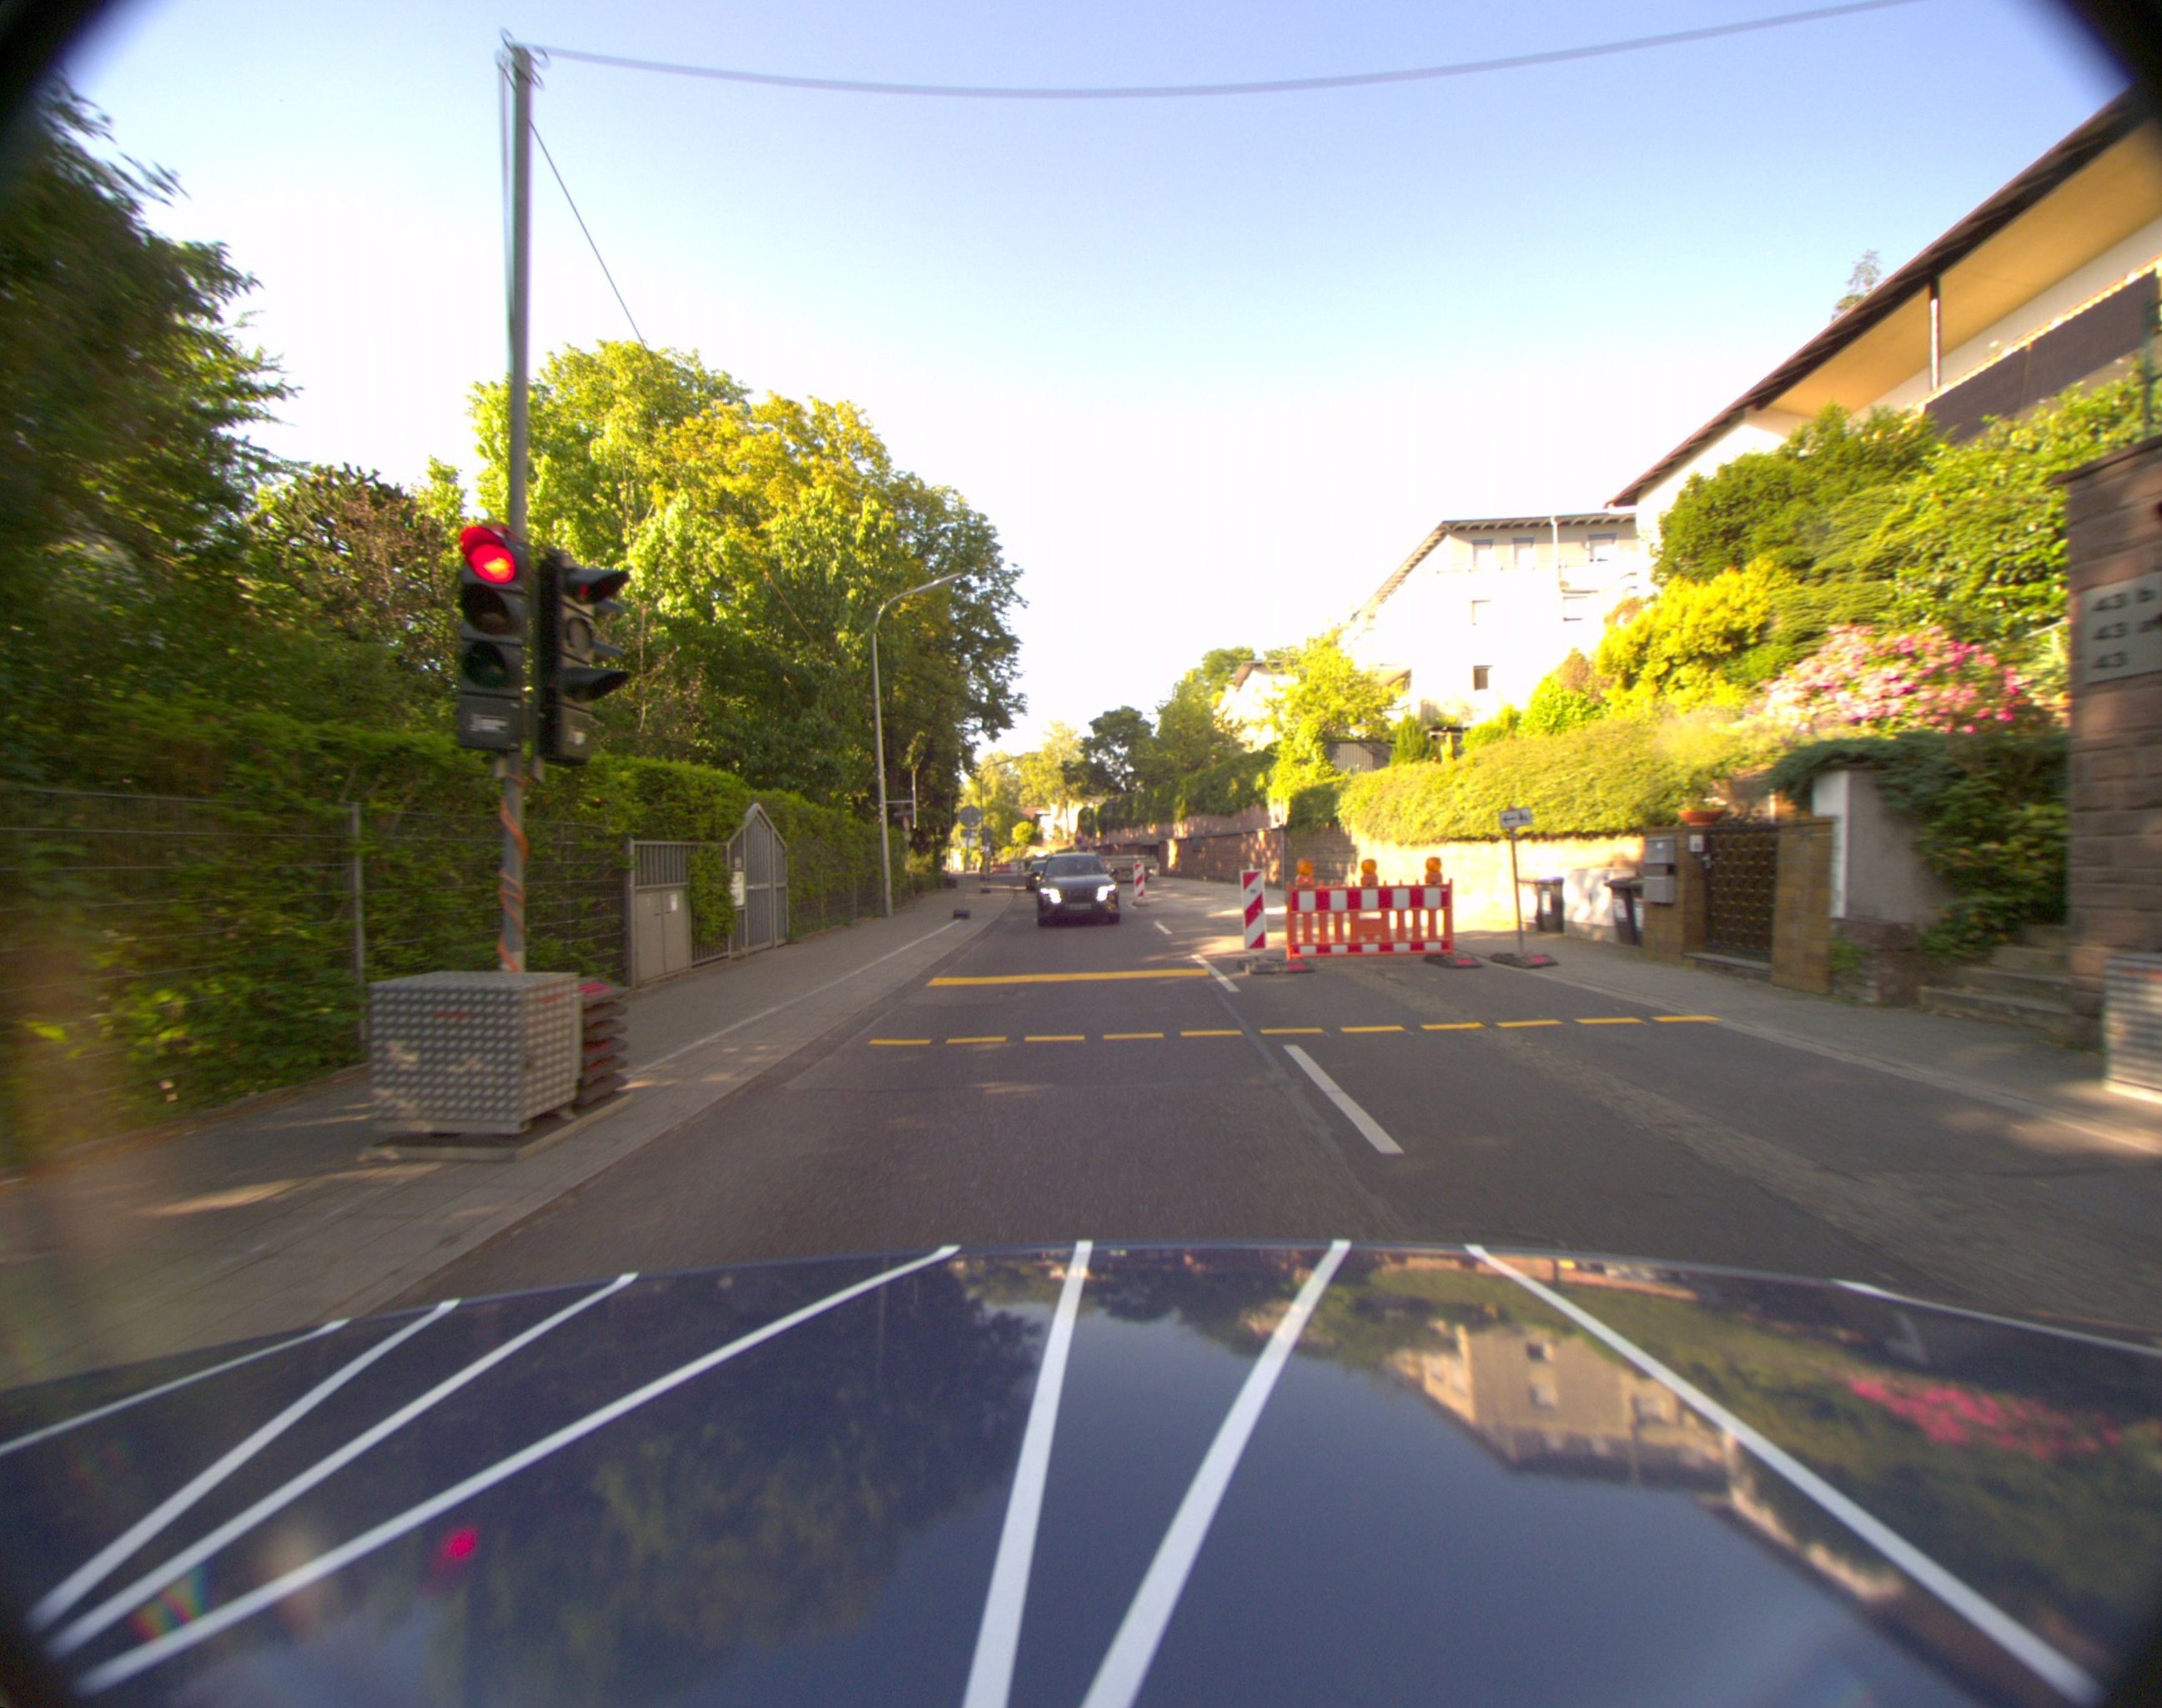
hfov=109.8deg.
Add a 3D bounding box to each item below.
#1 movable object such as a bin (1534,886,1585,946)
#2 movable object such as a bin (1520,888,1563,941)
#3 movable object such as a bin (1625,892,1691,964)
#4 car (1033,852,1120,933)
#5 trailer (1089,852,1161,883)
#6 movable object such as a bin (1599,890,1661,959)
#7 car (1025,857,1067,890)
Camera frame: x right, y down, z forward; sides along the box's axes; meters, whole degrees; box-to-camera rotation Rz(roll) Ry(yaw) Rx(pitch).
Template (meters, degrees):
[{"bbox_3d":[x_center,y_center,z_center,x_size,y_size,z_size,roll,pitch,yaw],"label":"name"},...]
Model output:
[{"bbox_3d":[7.539,0.968,11.977,0.457,0.879,0.500,-3,0,1],"label":"movable object such as a bin"},{"bbox_3d":[7.554,0.989,12.474,0.455,0.829,0.392,-2,1,1],"label":"movable object such as a bin"},{"bbox_3d":[7.523,0.951,9.920,0.457,0.879,0.500,-3,0,1],"label":"movable object such as a bin"},{"bbox_3d":[-0.086,0.838,18.497,1.788,1.639,4.474,-3,0,0],"label":"car"},{"bbox_3d":[2.387,0.716,43.778,2.648,1.481,7.112,-3,0,-9],"label":"trailer"},{"bbox_3d":[7.538,0.955,10.446,0.457,0.879,0.500,-3,0,1],"label":"movable object such as a bin"},{"bbox_3d":[-1.777,0.931,37.579,1.663,1.468,3.680,-3,1,-8],"label":"car"}]
